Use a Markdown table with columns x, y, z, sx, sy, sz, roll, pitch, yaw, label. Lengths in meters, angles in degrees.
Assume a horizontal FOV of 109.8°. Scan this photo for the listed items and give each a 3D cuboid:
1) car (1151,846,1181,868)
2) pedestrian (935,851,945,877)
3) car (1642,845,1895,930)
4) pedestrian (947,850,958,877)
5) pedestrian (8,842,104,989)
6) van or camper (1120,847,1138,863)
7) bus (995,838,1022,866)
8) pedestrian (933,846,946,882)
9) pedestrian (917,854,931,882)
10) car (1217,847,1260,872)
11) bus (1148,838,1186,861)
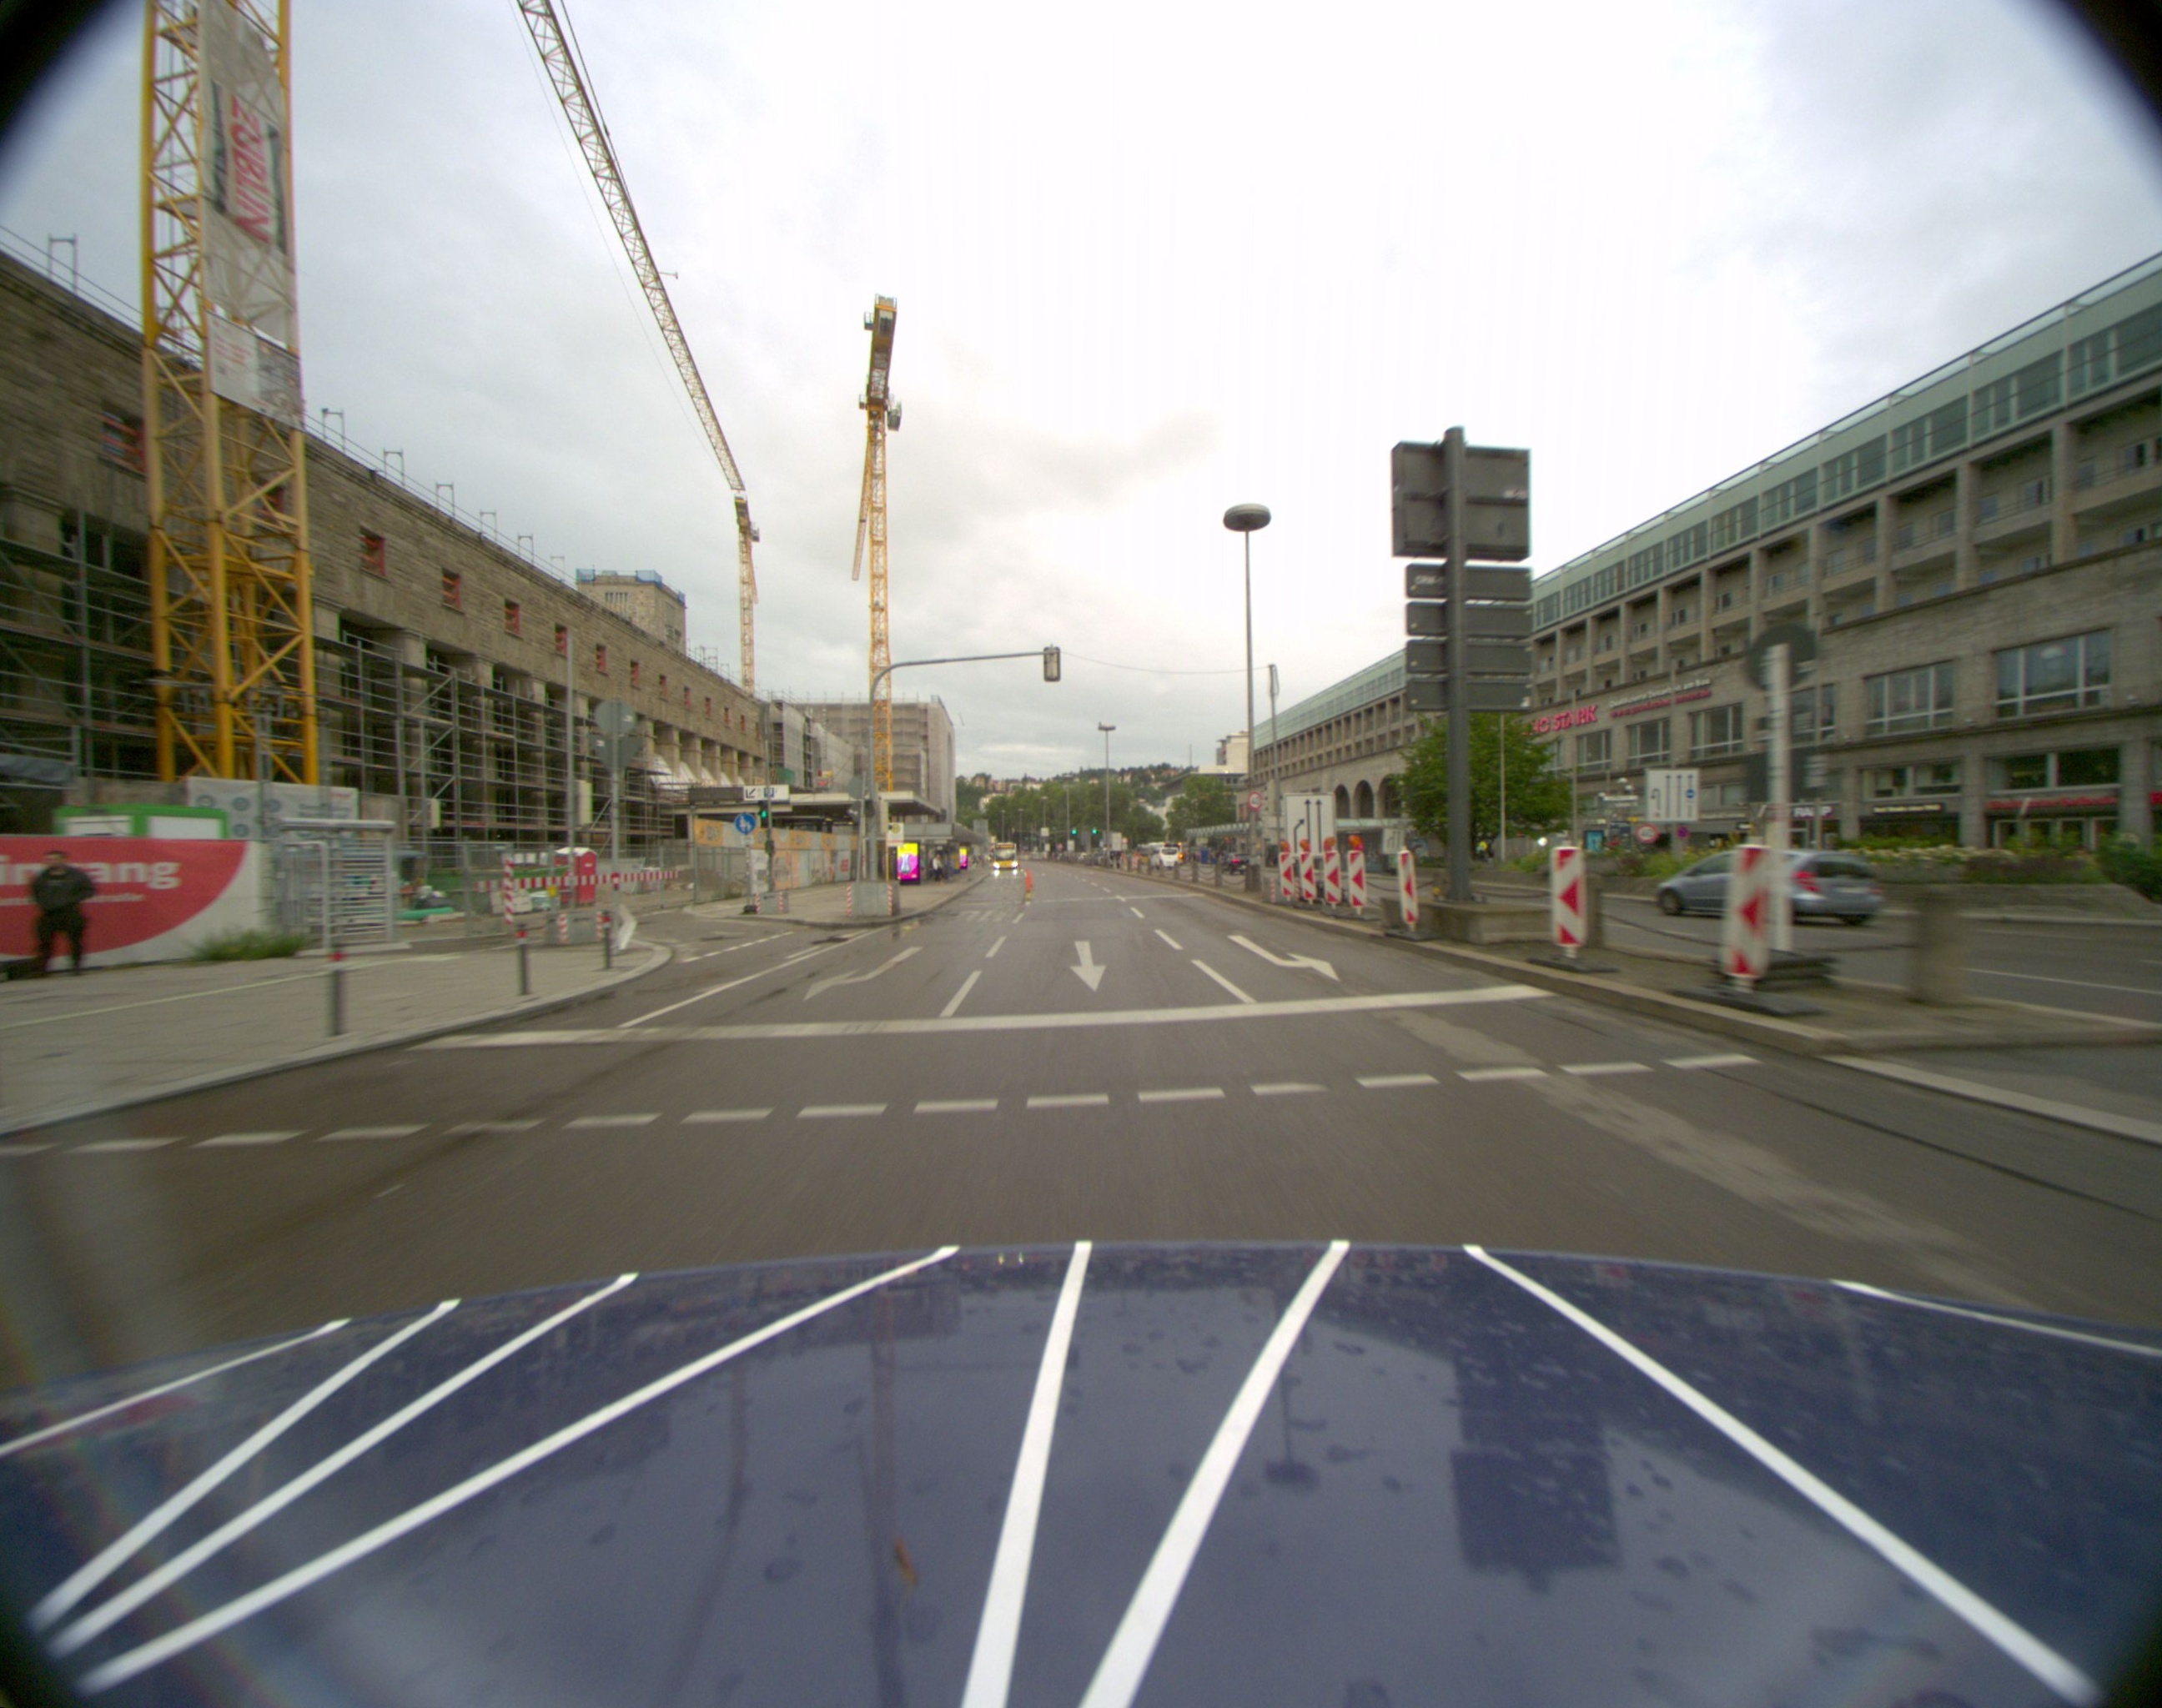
| x | y | z | sx | sy | sz | roll | pitch | yaw | label |
| --- | --- | --- | --- | --- | --- | --- | --- | --- | --- |
| 7.747 | 0.244 | 69.252 | 2.038 | 1.962 | 3.998 | 0 | 0 | -4 | car |
| -9.338 | 0.660 | 50.363 | 0.545 | 1.684 | 0.558 | 0 | 1 | 0 | pedestrian |
| 14.714 | 0.637 | 16.623 | 1.759 | 1.612 | 3.998 | 0 | 0 | -4 | car |
| -8.773 | 0.635 | 51.935 | 0.646 | 1.813 | 0.735 | 0 | 1 | 0 | pedestrian |
| -14.492 | 0.838 | 10.761 | 0.629 | 2.002 | 0.577 | -1 | 1 | -36 | pedestrian |
| 6.322 | 0.153 | 100.659 | 1.868 | 2.002 | 3.998 | 0 | 0 | -4 | van or camper |
| -8.469 | -0.250 | 88.361 | 3.000 | 3.119 | 7.761 | -1 | 0 | -6 | bus |
| -7.954 | 0.561 | 42.704 | 0.735 | 2.002 | 0.645 | 0 | 1 | -9 | pedestrian |
| -9.296 | 0.823 | 45.029 | 0.681 | 1.684 | 0.619 | 0 | 1 | 2 | pedestrian |
| 11.316 | 0.380 | 54.861 | 1.887 | 1.674 | 3.998 | 0 | 0 | -6 | car |
| 11.463 | -0.585 | 102.204 | 2.910 | 2.923 | 9.817 | 0 | 0 | -6 | bus |
